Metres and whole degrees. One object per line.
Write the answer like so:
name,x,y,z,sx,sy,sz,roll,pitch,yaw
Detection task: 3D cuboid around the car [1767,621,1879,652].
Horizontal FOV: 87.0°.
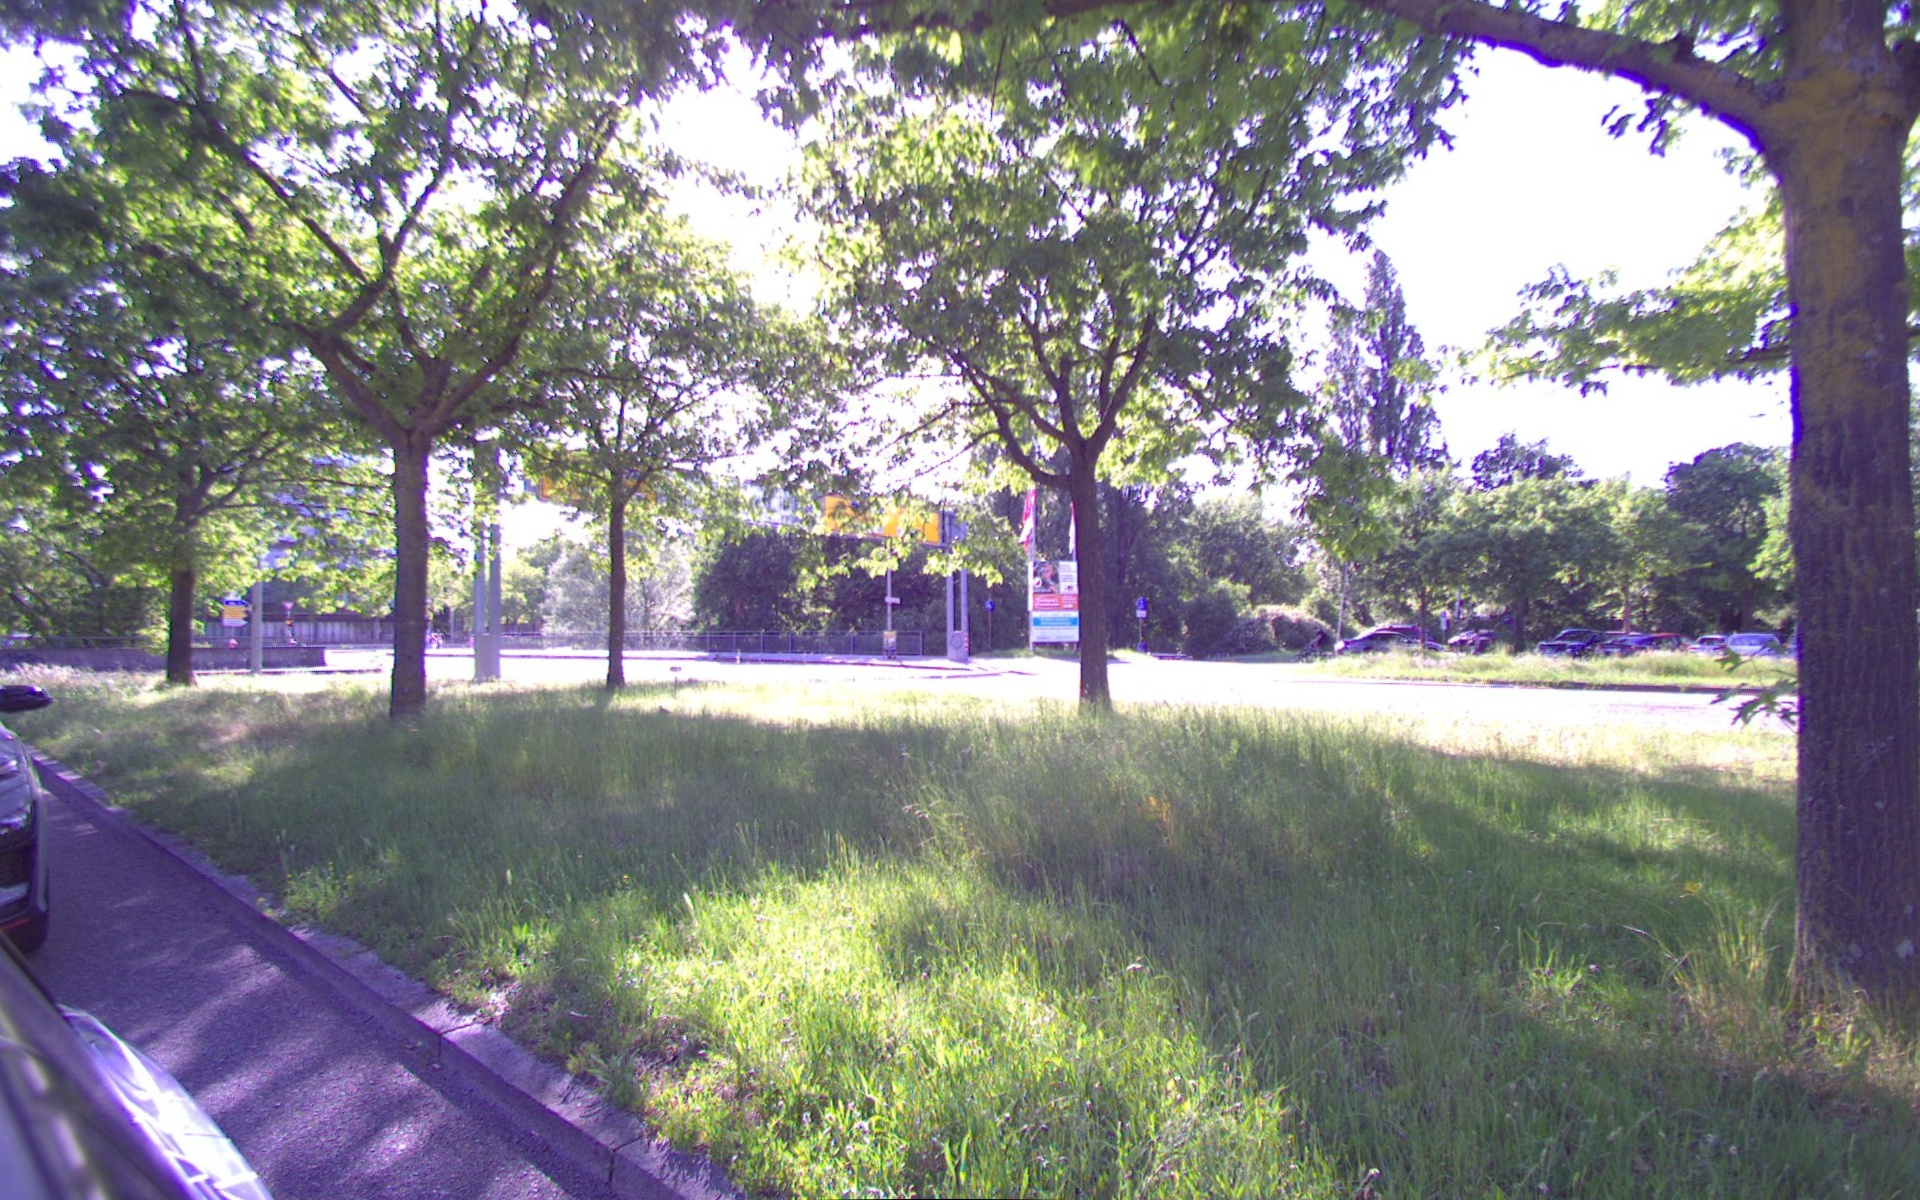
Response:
car,43.204,1.822,50.721,1.969,1.521,4.005,1,-2,-41

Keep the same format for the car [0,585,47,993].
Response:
car,-5.662,0.764,4.674,3.979,1.563,1.757,-2,-2,42

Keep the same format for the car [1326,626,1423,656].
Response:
car,22.194,2.192,54.348,4.509,1.475,1.993,-1,0,12

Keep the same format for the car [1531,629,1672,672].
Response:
car,23.606,1.828,37.373,1.791,1.459,4.012,0,-2,-30

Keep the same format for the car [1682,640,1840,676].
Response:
car,26.697,1.911,33.912,3.990,1.137,1.801,-2,-2,35

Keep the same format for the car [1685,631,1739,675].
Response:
car,33.039,2.286,44.436,1.653,1.618,3.834,-2,1,40

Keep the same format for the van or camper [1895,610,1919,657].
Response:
van or camper,44.443,1.455,44.578,1.966,2.112,4.414,1,-2,-32

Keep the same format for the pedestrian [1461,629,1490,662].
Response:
pedestrian,22.439,1.983,44.063,0.873,1.429,0.988,-2,-2,41

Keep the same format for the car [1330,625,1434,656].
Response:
car,21.132,2.013,50.873,4.509,1.475,1.993,-1,0,12

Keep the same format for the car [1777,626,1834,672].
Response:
car,35.819,2.030,42.845,1.654,1.618,3.831,-2,1,43

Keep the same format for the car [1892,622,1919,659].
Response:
car,42.591,1.716,42.972,1.936,1.484,4.011,-2,-1,-33

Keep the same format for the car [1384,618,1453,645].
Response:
car,32.419,2.230,71.594,4.126,1.814,1.976,-2,-2,35
